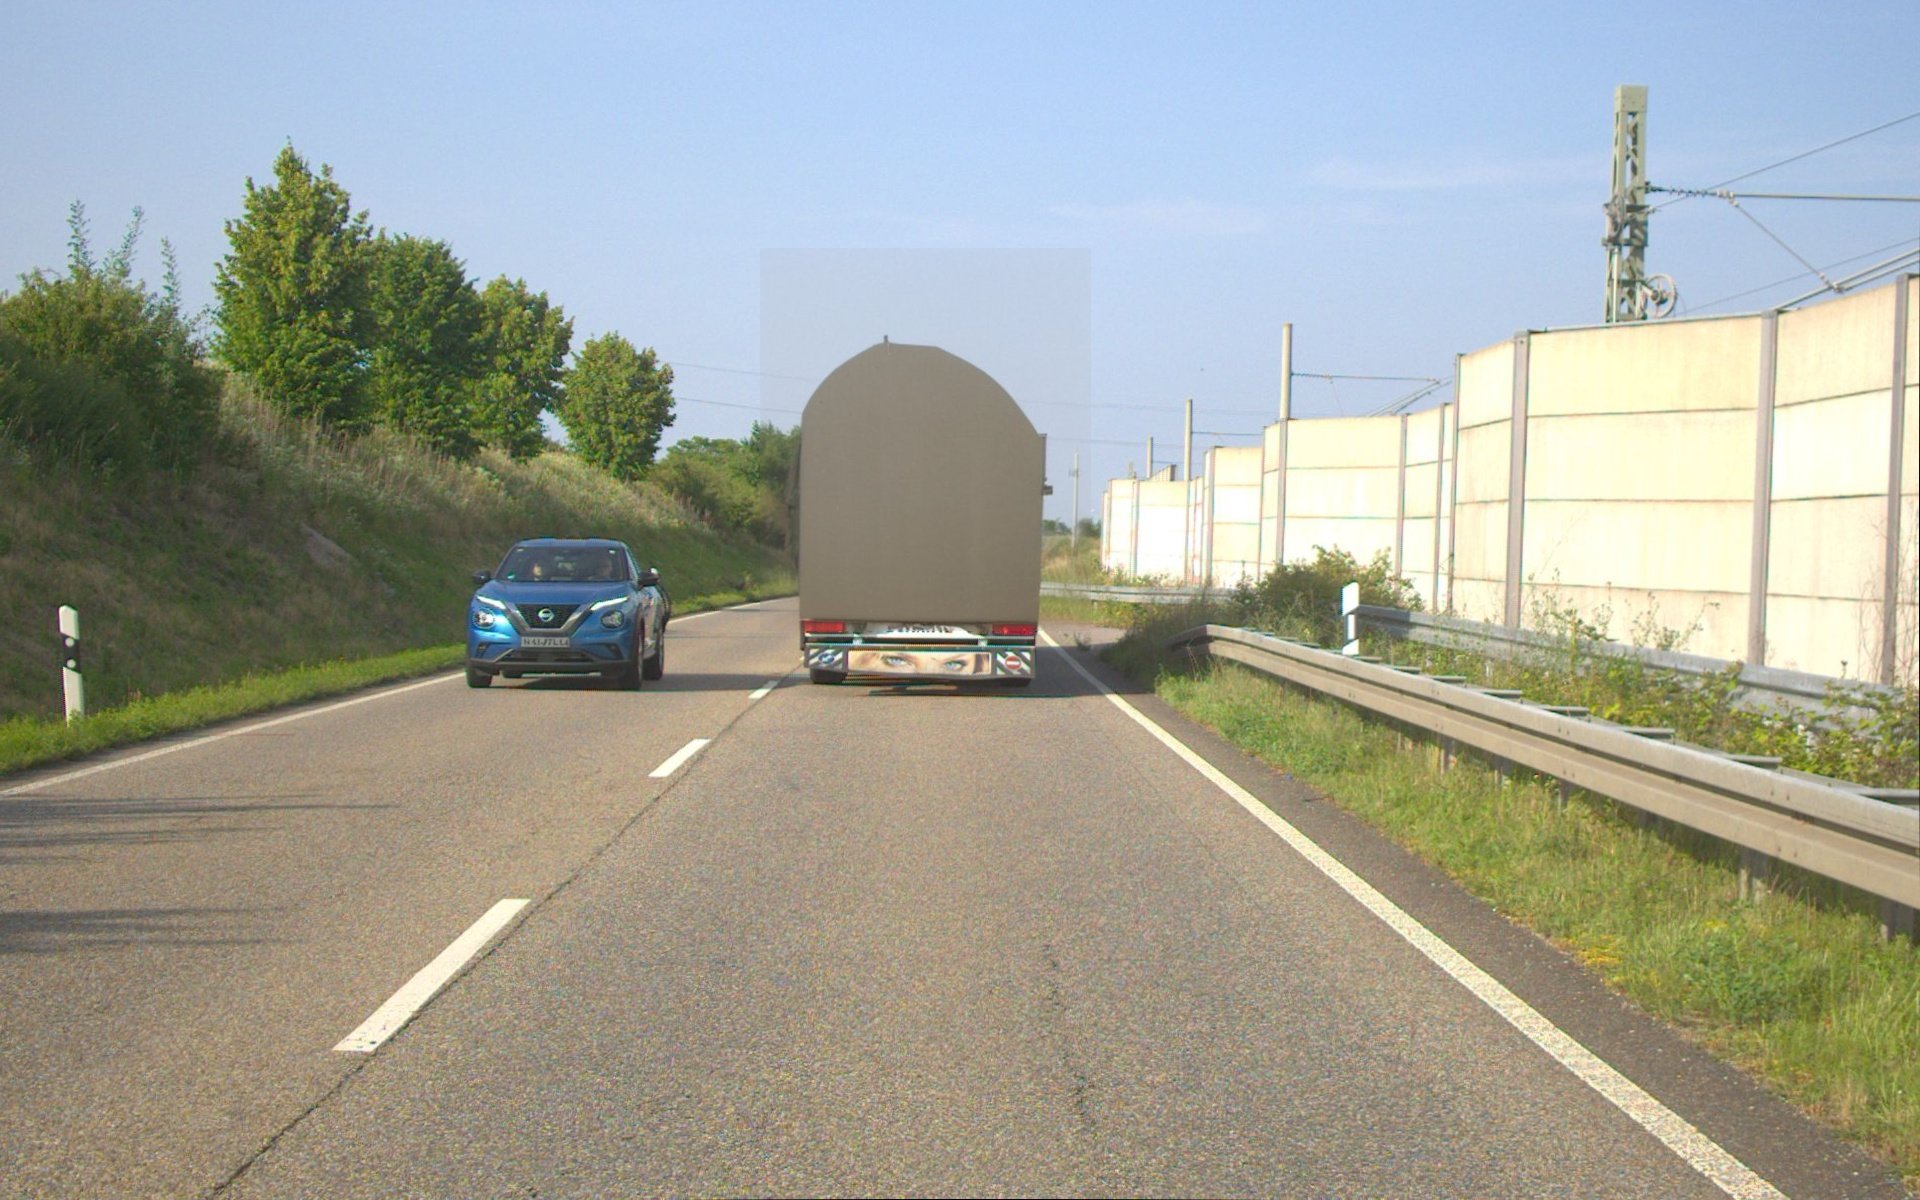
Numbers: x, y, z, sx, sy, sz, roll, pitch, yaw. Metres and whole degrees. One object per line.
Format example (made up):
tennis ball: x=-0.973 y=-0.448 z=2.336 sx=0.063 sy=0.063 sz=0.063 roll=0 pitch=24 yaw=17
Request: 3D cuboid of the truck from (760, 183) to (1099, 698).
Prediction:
truck: x=-0.352 y=-1.681 z=40.200 sx=3.290 sy=5.072 sz=12.038 roll=1 pitch=1 yaw=0

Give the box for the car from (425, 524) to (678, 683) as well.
car: x=-4.340 y=-0.024 z=37.360 sx=2.141 sy=1.568 sz=5.340 roll=1 pitch=1 yaw=-1
